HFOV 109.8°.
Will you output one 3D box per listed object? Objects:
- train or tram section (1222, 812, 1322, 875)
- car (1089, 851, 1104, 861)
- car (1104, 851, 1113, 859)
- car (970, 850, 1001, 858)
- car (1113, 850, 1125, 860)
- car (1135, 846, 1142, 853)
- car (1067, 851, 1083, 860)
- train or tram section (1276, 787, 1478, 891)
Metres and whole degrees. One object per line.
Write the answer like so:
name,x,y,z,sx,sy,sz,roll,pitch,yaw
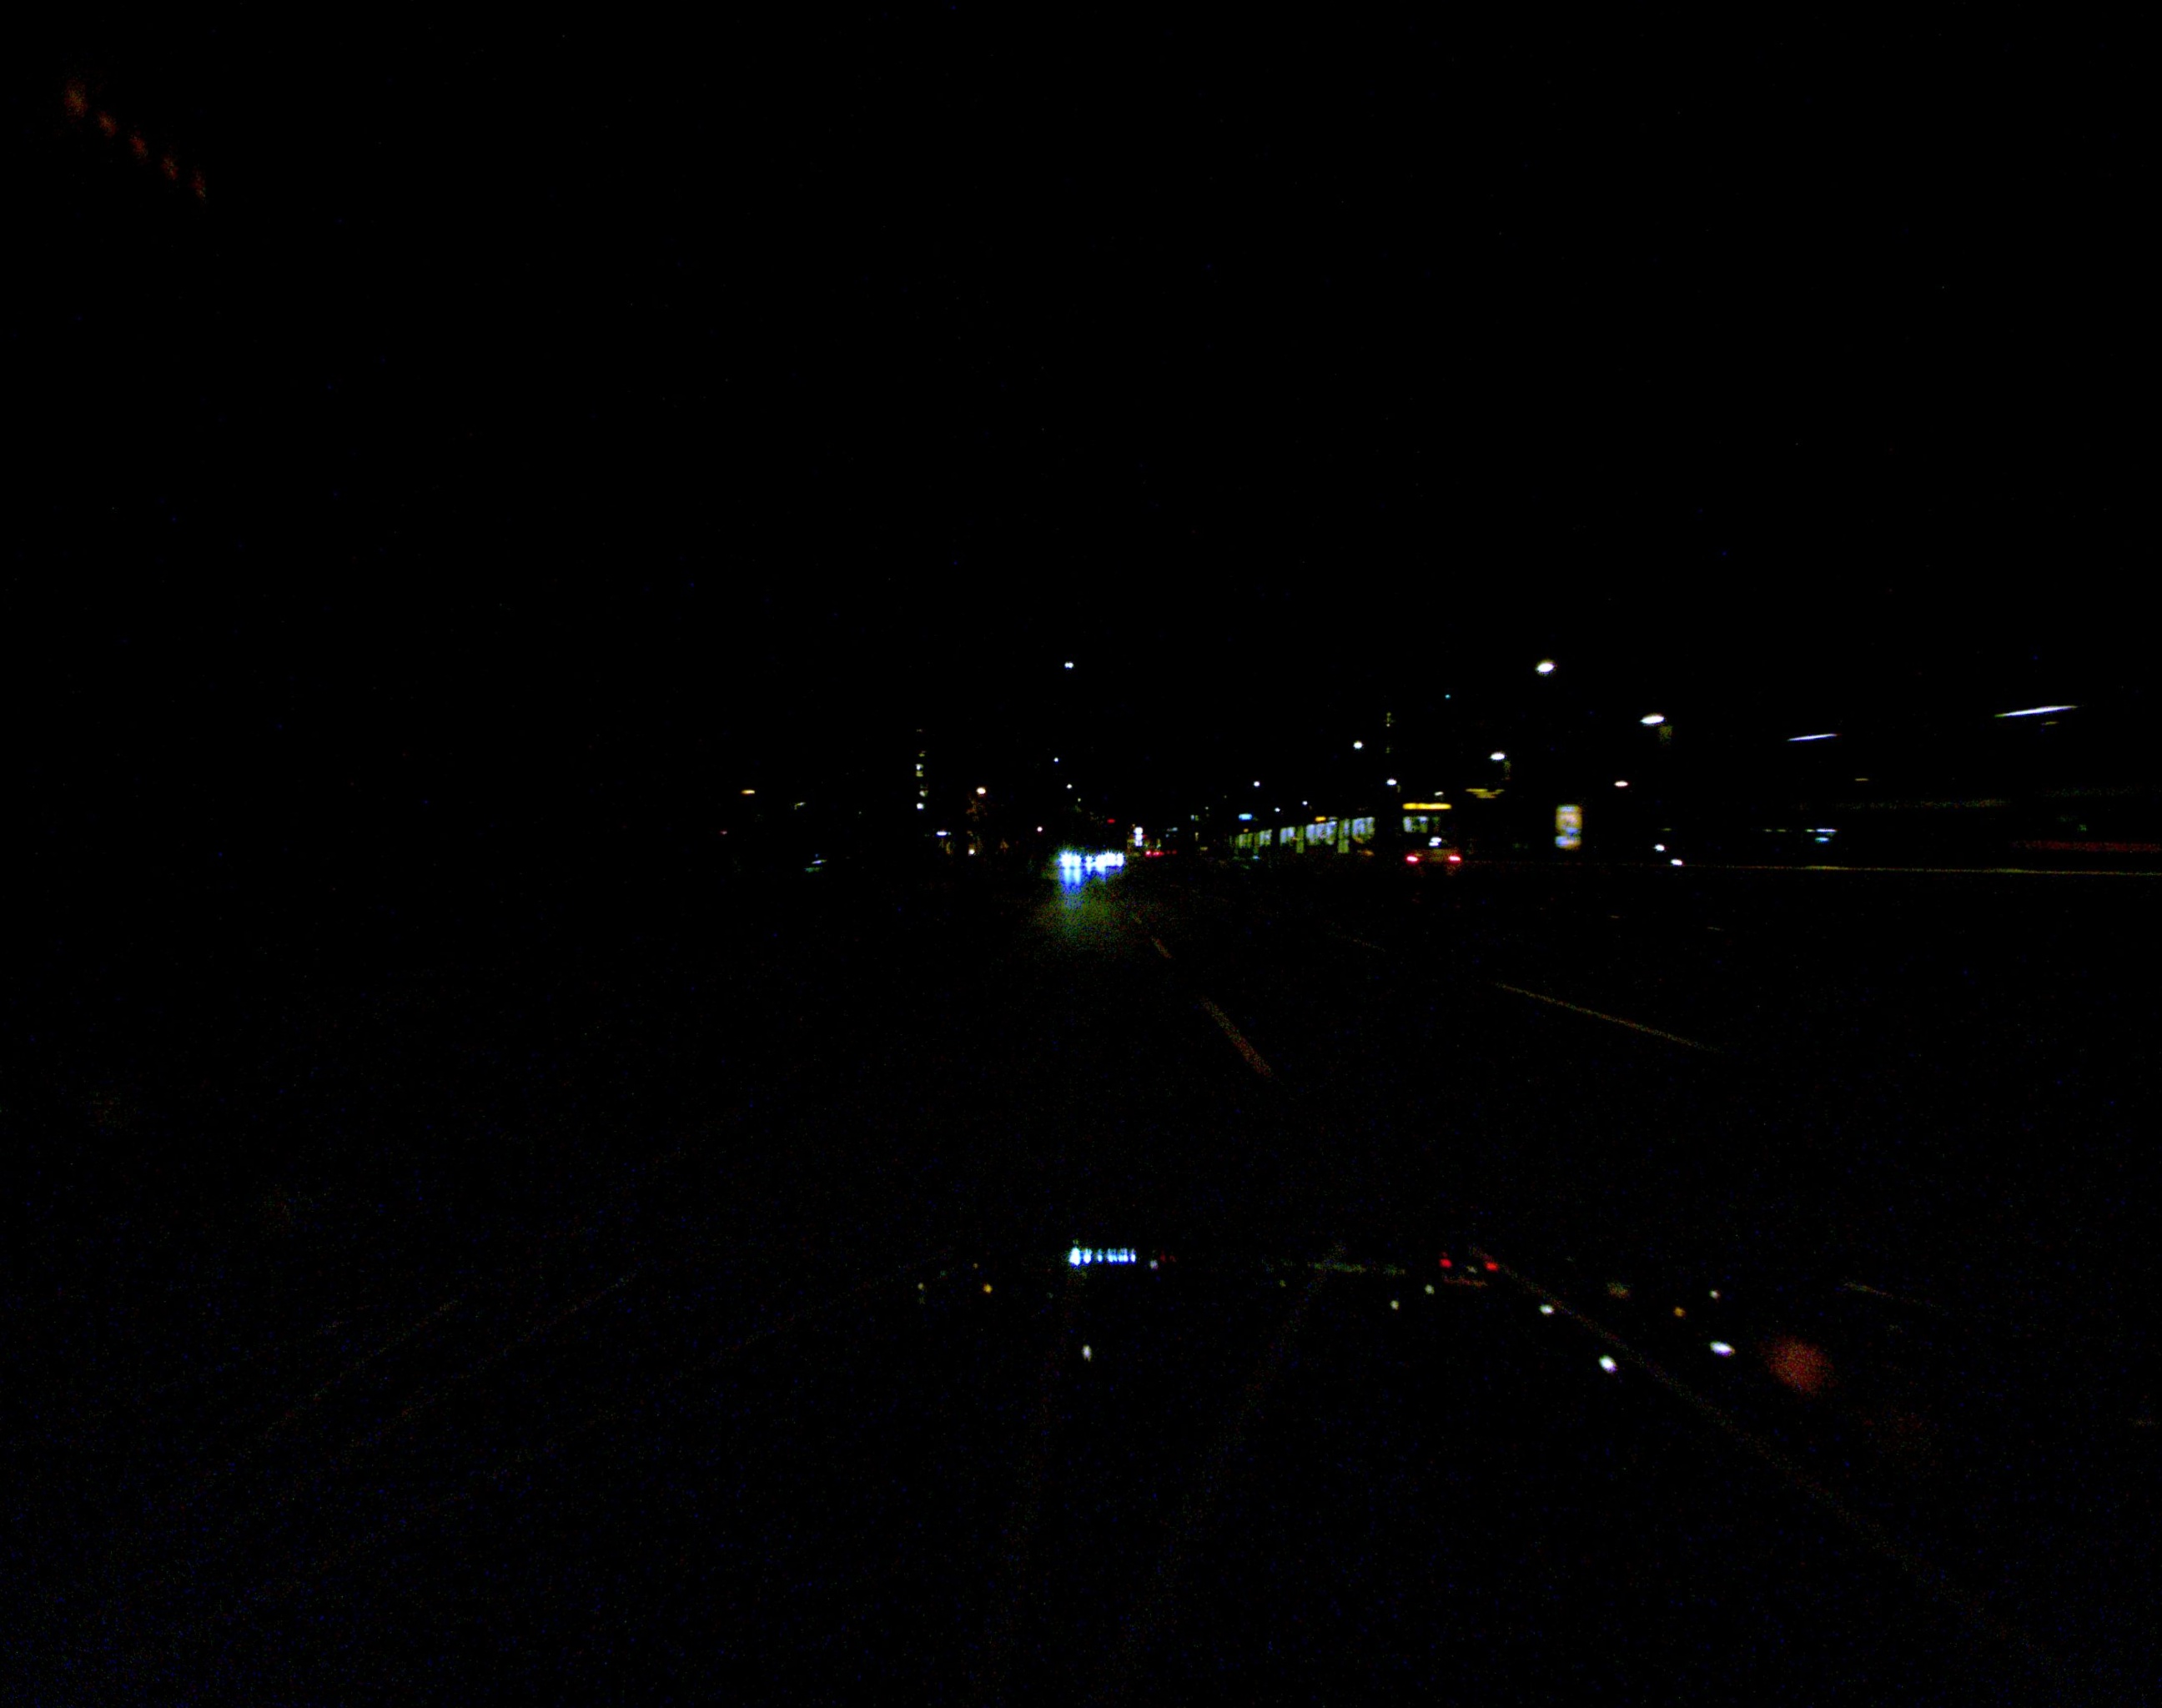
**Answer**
train or tram section,13.571,-0.711,56.479,2.745,3.824,19.362,-1,0,1
car,2.306,0.319,112.717,1.858,1.482,3.560,-1,0,6
car,6.037,0.183,166.988,1.827,1.696,4.000,-1,1,4
car,-12.600,0.021,100.282,4.009,1.028,1.480,1,-1,-41
car,6.929,0.173,138.491,1.908,1.609,3.718,-1,1,1
car,15.471,-1.297,205.879,1.827,1.696,4.000,-1,1,4
car,-0.818,0.239,113.021,1.947,1.299,3.907,1,0,6
train or tram section,13.336,-0.607,37.448,2.765,3.805,18.669,-1,0,0
